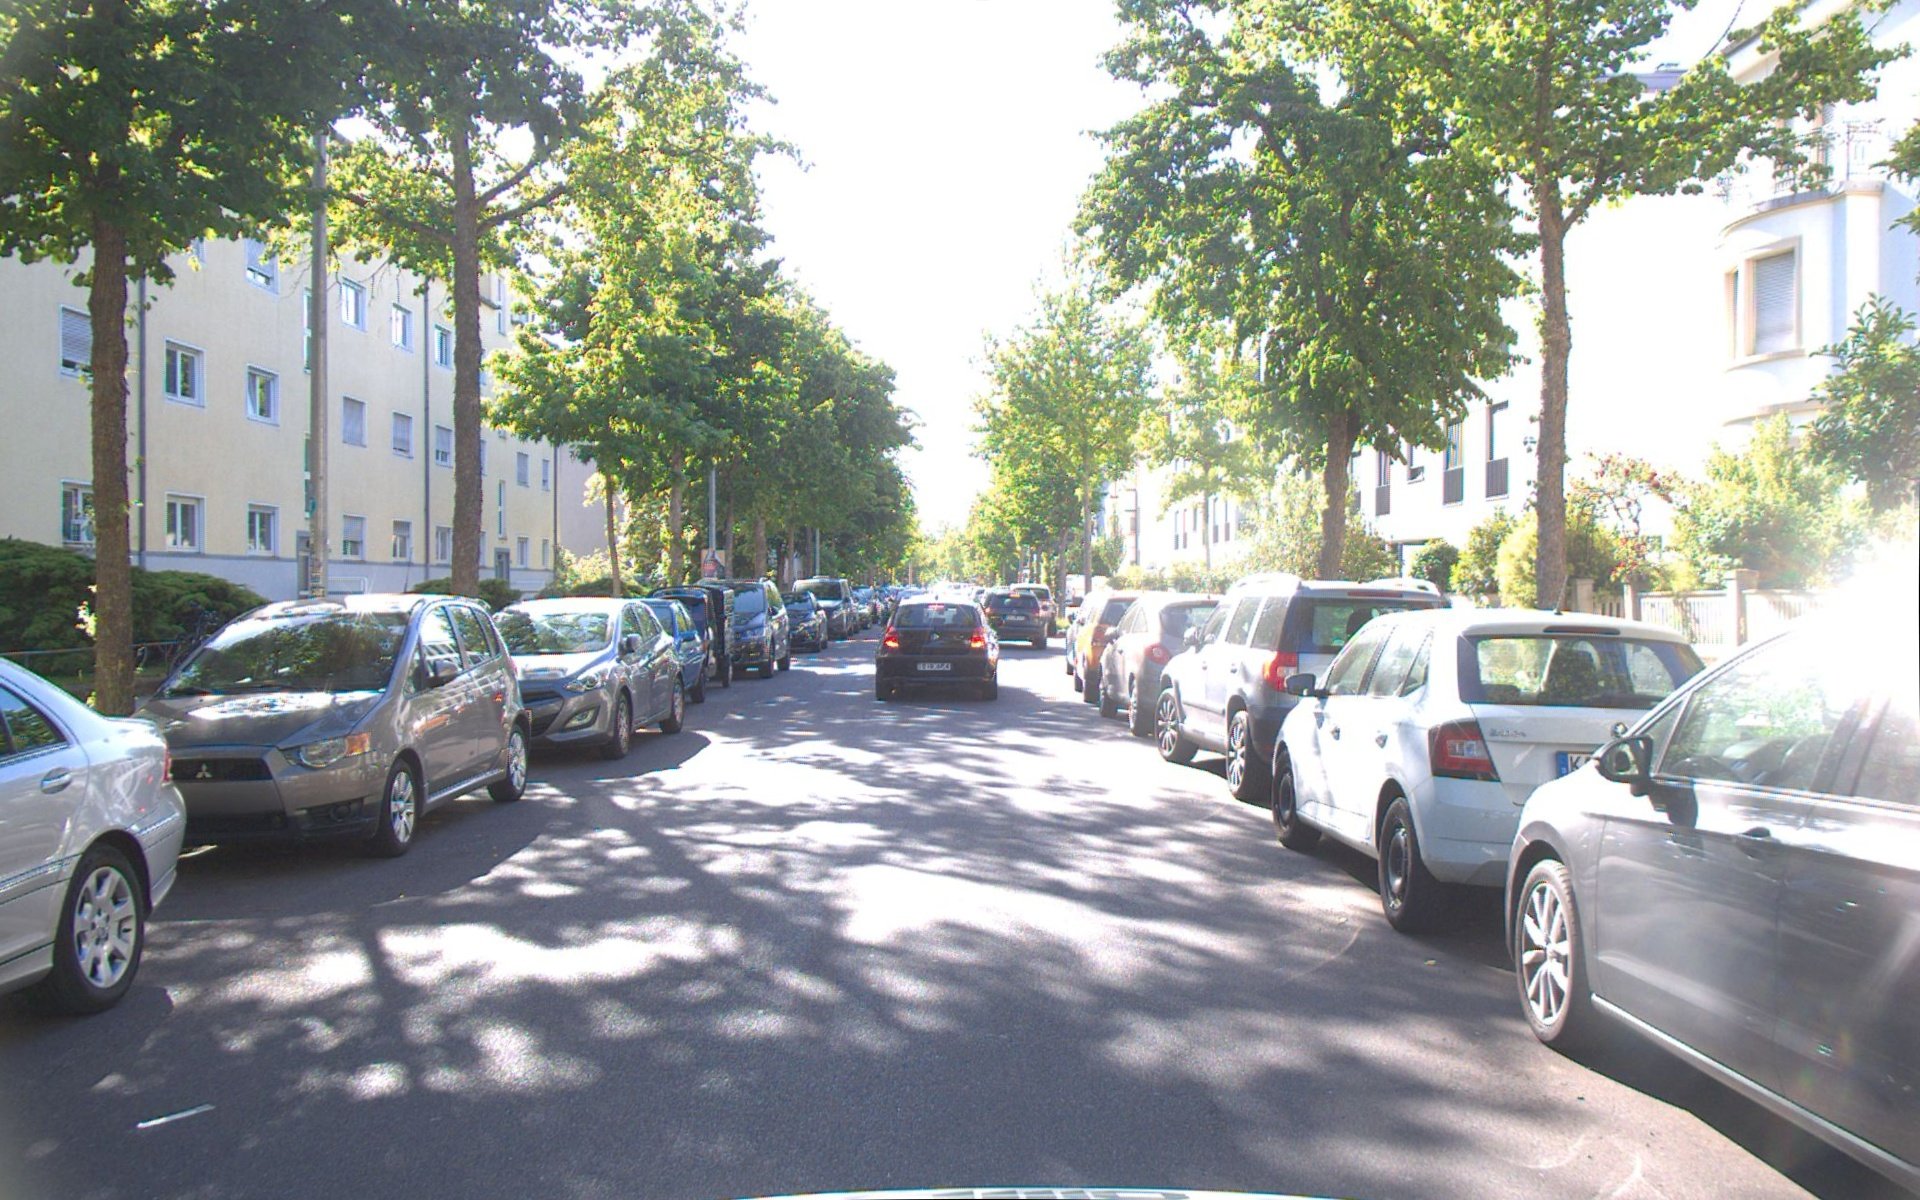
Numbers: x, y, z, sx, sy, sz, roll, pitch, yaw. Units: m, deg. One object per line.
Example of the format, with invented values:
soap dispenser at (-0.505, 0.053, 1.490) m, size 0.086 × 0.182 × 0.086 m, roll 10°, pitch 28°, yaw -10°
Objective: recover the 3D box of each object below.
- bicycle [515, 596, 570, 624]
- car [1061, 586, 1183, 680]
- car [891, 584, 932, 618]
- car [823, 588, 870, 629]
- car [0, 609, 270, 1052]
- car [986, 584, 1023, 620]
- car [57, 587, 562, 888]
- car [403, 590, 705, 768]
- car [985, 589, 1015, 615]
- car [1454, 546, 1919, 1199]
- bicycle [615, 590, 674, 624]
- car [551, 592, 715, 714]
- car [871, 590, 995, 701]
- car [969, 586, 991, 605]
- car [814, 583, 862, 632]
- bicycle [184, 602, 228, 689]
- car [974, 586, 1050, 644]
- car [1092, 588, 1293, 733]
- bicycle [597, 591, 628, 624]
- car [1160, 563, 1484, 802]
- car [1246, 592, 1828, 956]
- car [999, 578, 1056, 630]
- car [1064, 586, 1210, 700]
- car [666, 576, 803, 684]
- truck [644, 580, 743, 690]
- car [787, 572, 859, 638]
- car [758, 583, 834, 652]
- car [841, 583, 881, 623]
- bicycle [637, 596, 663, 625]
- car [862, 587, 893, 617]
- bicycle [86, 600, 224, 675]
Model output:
bicycle at (-15.293, 0.356, 60.633) m, size 1.885 × 1.009 × 0.595 m, roll -1°, pitch 0°, yaw -8°
car at (2.708, 0.505, 28.371) m, size 1.665 × 1.474 × 4.082 m, roll -1°, pitch 0°, yaw 0°
car at (-2.129, 0.035, 73.488) m, size 1.473 × 1.451 × 3.180 m, roll 0°, pitch 1°, yaw 5°
car at (-4.340, 0.302, 63.506) m, size 1.579 × 1.452 × 4.057 m, roll -1°, pitch 0°, yaw -1°
car at (-3.944, 0.773, 5.056) m, size 1.710 × 1.392 × 4.674 m, roll -1°, pitch 0°, yaw 0°
car at (2.176, 0.091, 81.884) m, size 1.685 × 1.669 × 3.851 m, roll 2°, pitch 0°, yaw 0°
car at (-3.998, 0.721, 10.993) m, size 1.587 × 1.542 × 4.269 m, roll -2°, pitch 0°, yaw 0°
car at (-3.862, 0.667, 16.610) m, size 1.755 × 1.469 × 4.689 m, roll -2°, pitch 1°, yaw 1°
car at (2.330, 0.091, 97.004) m, size 1.685 × 1.403 × 3.851 m, roll 2°, pitch 0°, yaw 0°
car at (2.903, 0.711, 4.387) m, size 1.650 × 1.615 × 4.534 m, roll 2°, pitch 0°, yaw -2°
bicycle at (-11.640, 0.261, 61.038) m, size 2.107 × 1.230 × 0.688 m, roll -1°, pitch 0°, yaw -12°
car at (-4.143, 0.621, 21.450) m, size 1.490 × 1.419 × 3.725 m, roll 0°, pitch 0°, yaw -2°
car at (-0.383, 0.587, 23.525) m, size 1.616 × 1.421 × 3.411 m, roll -1°, pitch 1°, yaw -1°
car at (1.694, -0.372, 137.077) m, size 1.685 × 1.506 × 3.852 m, roll -1°, pitch 0°, yaw 2°
car at (-4.261, 0.240, 58.199) m, size 1.580 × 1.639 × 4.227 m, roll -1°, pitch 0°, yaw -3°
bicycle at (-10.154, 0.596, 22.301) m, size 0.479 × 1.100 × 1.831 m, roll 2°, pitch -1°, yaw -24°
car at (1.329, 0.356, 43.685) m, size 1.617 × 1.450 × 3.998 m, roll -1°, pitch 1°, yaw -4°
car at (2.524, 0.600, 18.741) m, size 1.616 × 1.453 × 3.611 m, roll -1°, pitch 0°, yaw -3°
bicycle at (-10.973, 0.239, 52.216) m, size 0.582 × 1.009 × 1.928 m, roll -1°, pitch 0°, yaw 0°
car at (2.801, 0.564, 13.625) m, size 1.616 × 1.684 × 3.844 m, roll 0°, pitch 0°, yaw -4°
car at (2.751, 0.703, 8.980) m, size 1.596 × 1.450 × 4.368 m, roll -1°, pitch 0°, yaw 0°
car at (2.229, 0.147, 55.747) m, size 1.810 × 1.659 × 4.411 m, roll 1°, pitch 0°, yaw 1°
car at (2.459, 0.547, 23.802) m, size 1.603 × 1.480 × 4.099 m, roll 0°, pitch 1°, yaw -1°
car at (-3.999, 0.477, 30.108) m, size 1.812 × 1.710 × 4.976 m, roll -3°, pitch 1°, yaw -1°
truck at (-4.072, 0.501, 25.476) m, size 1.061 × 1.605 × 2.432 m, roll 0°, pitch 0°, yaw 2°
car at (-4.287, 0.128, 52.514) m, size 1.789 × 1.938 × 5.142 m, roll -2°, pitch 0°, yaw 0°
car at (-4.123, 0.407, 42.063) m, size 1.477 × 1.575 × 4.777 m, roll -2°, pitch 0°, yaw -1°
car at (-4.421, 0.100, 74.040) m, size 1.579 × 1.708 × 4.233 m, roll -1°, pitch 0°, yaw -1°
bicycle at (-10.897, 0.359, 58.178) m, size 0.582 × 1.009 × 1.928 m, roll -1°, pitch 0°, yaw 0°
car at (-4.547, 0.104, 91.264) m, size 1.579 × 1.570 × 3.865 m, roll -1°, pitch 0°, yaw -1°
bicycle at (-12.128, 0.555, 24.949) m, size 1.803 × 1.100 × 0.486 m, roll 0°, pitch 0°, yaw -4°
